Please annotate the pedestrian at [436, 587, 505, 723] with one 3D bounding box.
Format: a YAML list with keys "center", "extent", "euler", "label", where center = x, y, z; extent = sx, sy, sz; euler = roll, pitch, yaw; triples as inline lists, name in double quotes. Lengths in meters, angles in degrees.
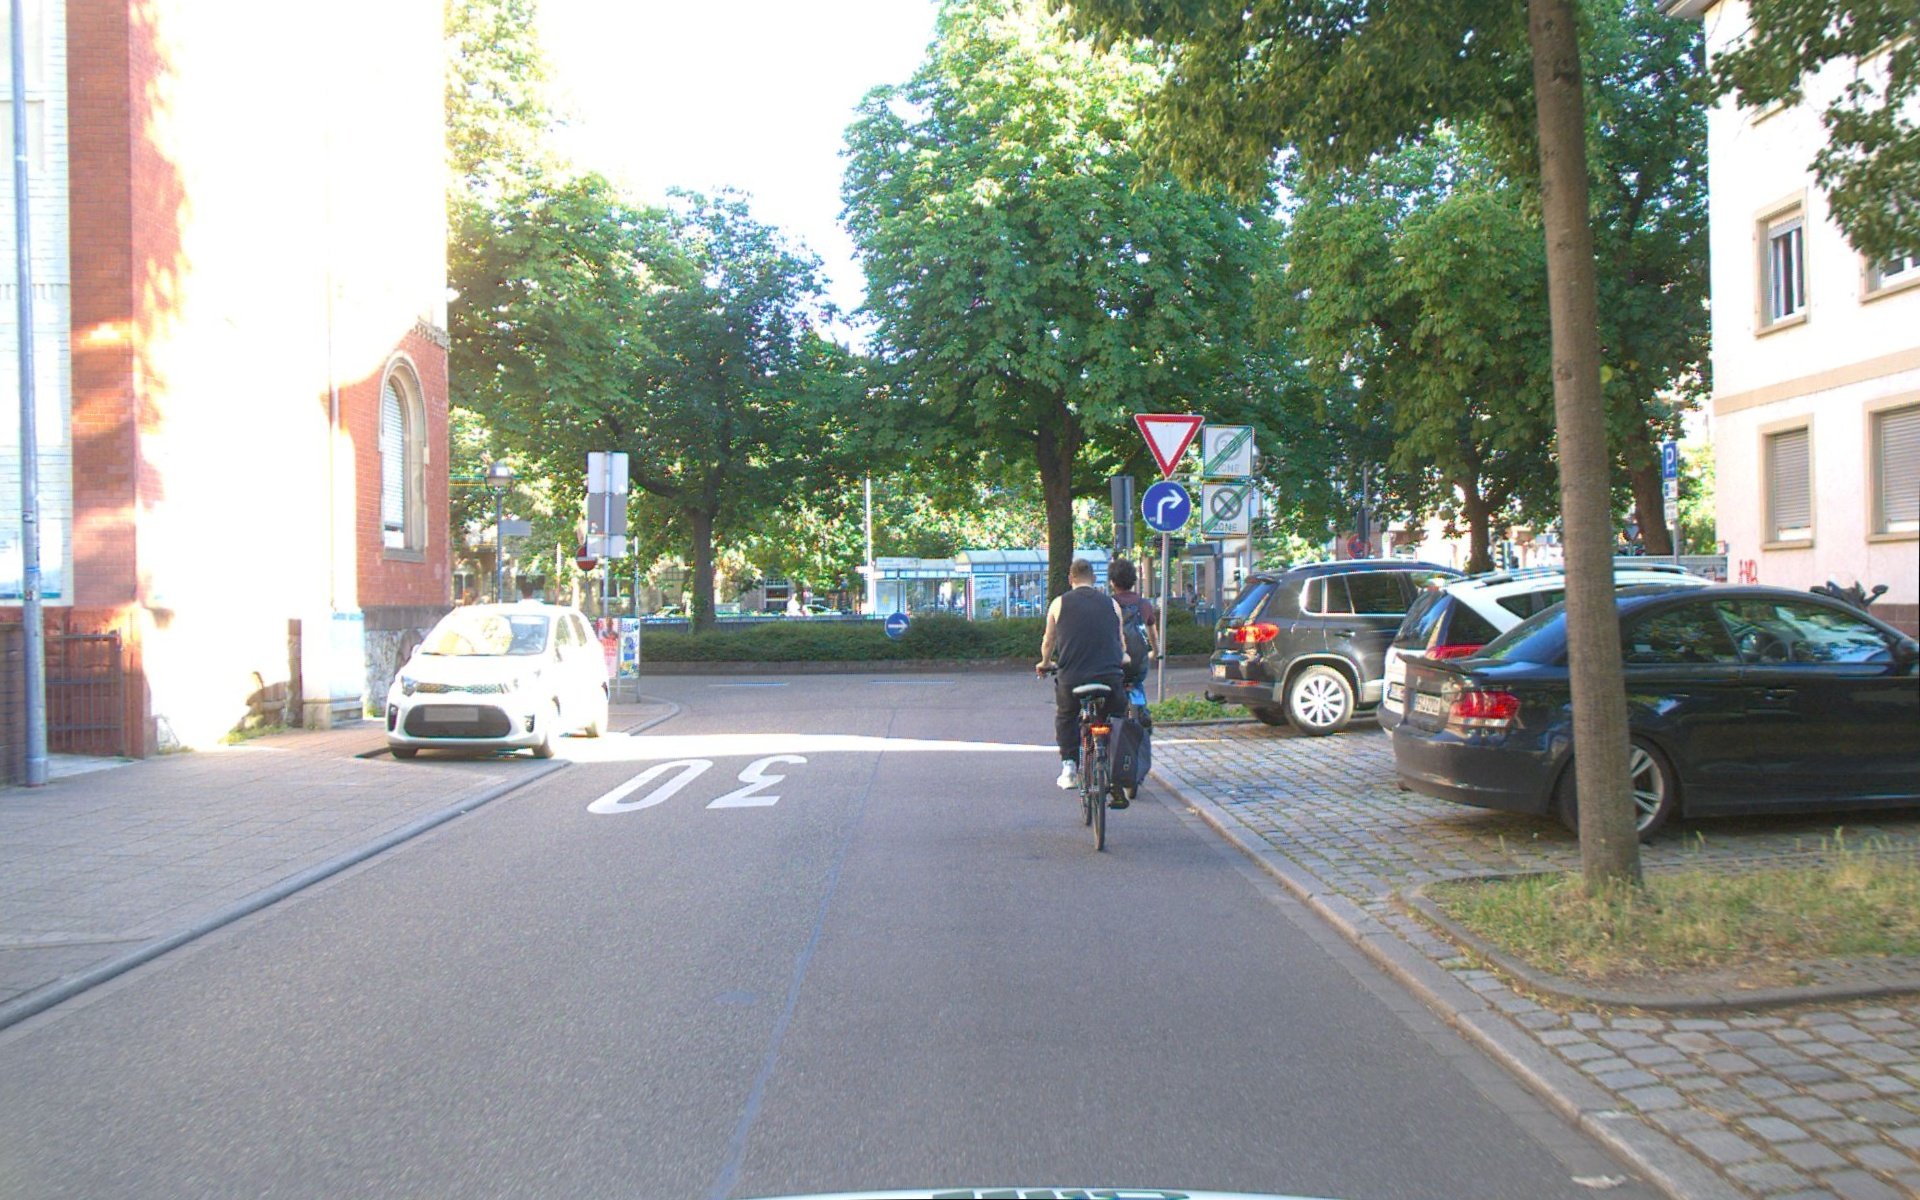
- center: [-6.069, 0.667, 20.526]
  extent: [0.587, 1.633, 0.854]
  euler: [-1, 0, -2]
  label: "pedestrian"

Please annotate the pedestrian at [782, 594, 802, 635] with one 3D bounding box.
- center: [-7.223, 0.630, 71.207]
  extent: [0.692, 1.725, 0.666]
  euler: [1, 0, -23]
  label: "pedestrian"

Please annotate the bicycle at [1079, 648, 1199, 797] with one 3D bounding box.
- center: [1.388, 0.929, 13.164]
  extent: [0.660, 1.072, 2.060]
  euler: [-1, -1, -2]
  label: "bicycle"

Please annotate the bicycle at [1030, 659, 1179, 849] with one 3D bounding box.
- center: [0.877, 0.922, 10.553]
  extent: [0.722, 1.030, 2.061]
  euler: [1, -1, -1]
  label: "bicycle"

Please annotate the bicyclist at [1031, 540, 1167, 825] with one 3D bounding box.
- center: [0.866, 0.501, 10.500]
  extent: [0.737, 1.711, 0.913]
  euler: [-1, 0, -1]
  label: "bicyclist"

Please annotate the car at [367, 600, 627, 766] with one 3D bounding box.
- center: [-4.706, 0.776, 17.344]
  extent: [1.670, 1.511, 3.796]
  euler: [1, 0, -1]
  label: "car"

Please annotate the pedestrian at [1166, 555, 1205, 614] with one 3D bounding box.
- center: [6.707, -0.469, 49.190]
  extent: [0.880, 1.713, 0.817]
  euler: [-1, 0, 33]
  label: "pedestrian"

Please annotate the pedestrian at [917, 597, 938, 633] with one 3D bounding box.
- center: [-1.463, 0.666, 73.880]
  extent: [0.795, 1.570, 0.818]
  euler: [1, 0, -12]
  label: "pedestrian"

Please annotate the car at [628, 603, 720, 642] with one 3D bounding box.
- center: [-13.594, 1.059, 78.655]
  extent: [3.920, 1.709, 1.922]
  euler: [-1, 0, -45]
  label: "car"

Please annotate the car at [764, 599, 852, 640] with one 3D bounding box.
- center: [-7.604, 0.963, 82.924]
  extent: [3.939, 1.903, 1.983]
  euler: [-1, 0, -27]
  label: "car"

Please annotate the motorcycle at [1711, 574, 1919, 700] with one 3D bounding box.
- center: [9.508, 0.387, 18.506]
  extent: [0.957, 1.302, 2.178]
  euler: [-1, 0, -9]
  label: "motorcycle"

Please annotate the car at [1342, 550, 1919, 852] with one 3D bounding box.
- center: [4.538, 0.512, 9.888]
  extent: [4.022, 1.436, 1.792]
  euler: [-4, 0, -1]
  label: "car"

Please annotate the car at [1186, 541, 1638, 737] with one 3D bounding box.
- center: [4.568, 0.355, 17.118]
  extent: [4.026, 1.742, 2.022]
  euler: [-2, 1, -6]
  label: "car"

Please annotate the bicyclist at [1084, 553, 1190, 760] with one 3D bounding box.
- center: [1.377, 0.435, 13.022]
  extent: [0.658, 1.541, 1.068]
  euler: [-1, -1, -2]
  label: "bicyclist"

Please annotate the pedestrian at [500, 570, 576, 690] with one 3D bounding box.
- center: [-6.025, 0.420, 23.628]
  extent: [0.849, 1.672, 0.860]
  euler: [-1, 0, -1]
  label: "pedestrian"

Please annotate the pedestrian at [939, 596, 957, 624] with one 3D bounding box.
- center: [-0.726, 0.573, 98.519]
  extent: [0.980, 1.659, 1.064]
  euler: [-1, 0, -2]
  label: "pedestrian"

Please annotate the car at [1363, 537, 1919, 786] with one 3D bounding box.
- center: [5.035, 0.432, 12.424]
  extent: [3.616, 1.680, 1.704]
  euler: [-1, 0, 2]
  label: "car"
